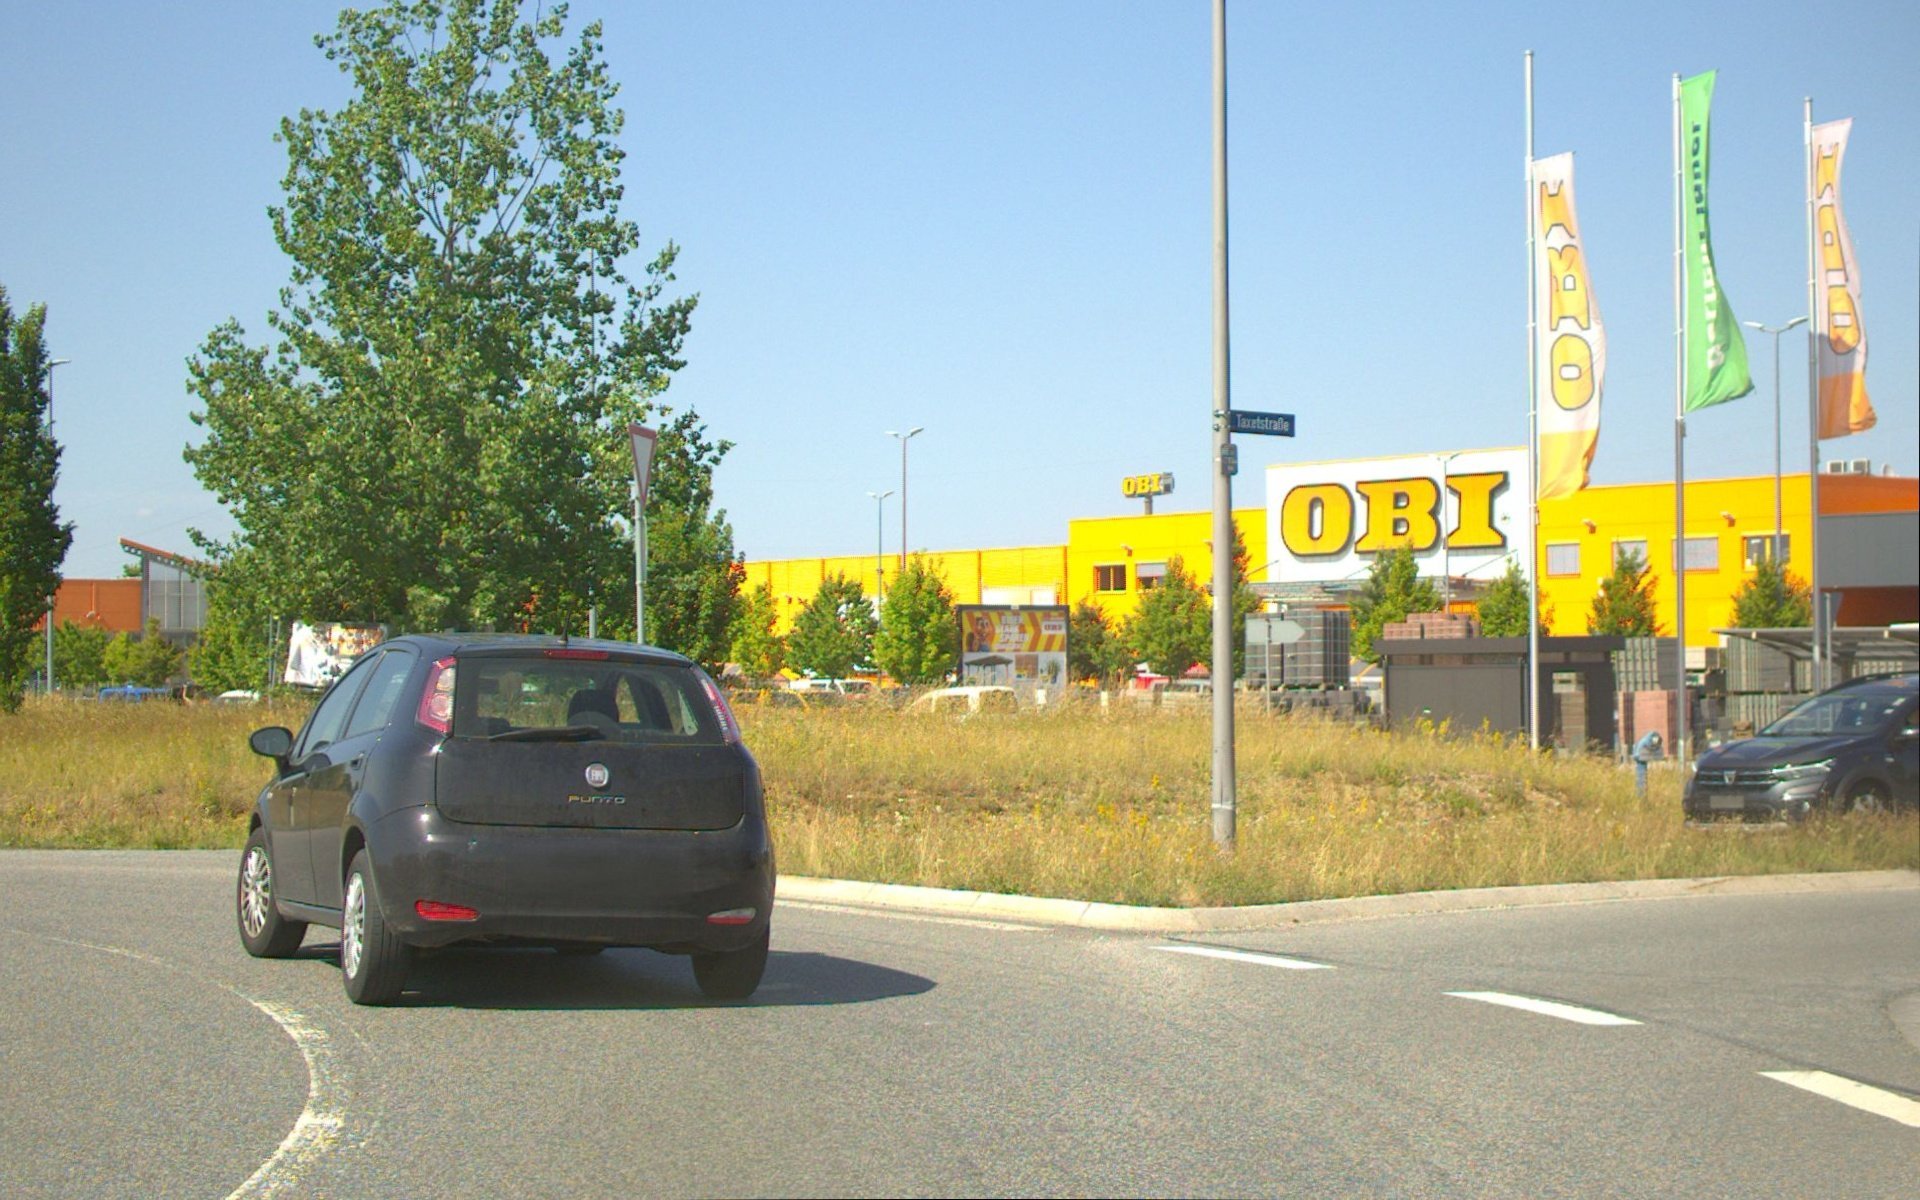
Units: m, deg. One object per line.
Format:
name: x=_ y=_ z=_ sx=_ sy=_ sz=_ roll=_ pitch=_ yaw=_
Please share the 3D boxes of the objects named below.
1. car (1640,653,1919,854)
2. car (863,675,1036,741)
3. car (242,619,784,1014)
car: x=8.562 y=1.365 z=31.273 sx=4.612 sy=1.700 sz=1.957 roll=1 pitch=-3 yaw=-34
car: x=-0.270 y=2.682 z=85.953 sx=3.996 sy=1.612 sz=1.995 roll=-1 pitch=-2 yaw=40
car: x=-2.080 y=0.872 z=15.036 sx=1.639 sy=1.483 sz=3.905 roll=2 pitch=-2 yaw=-18
